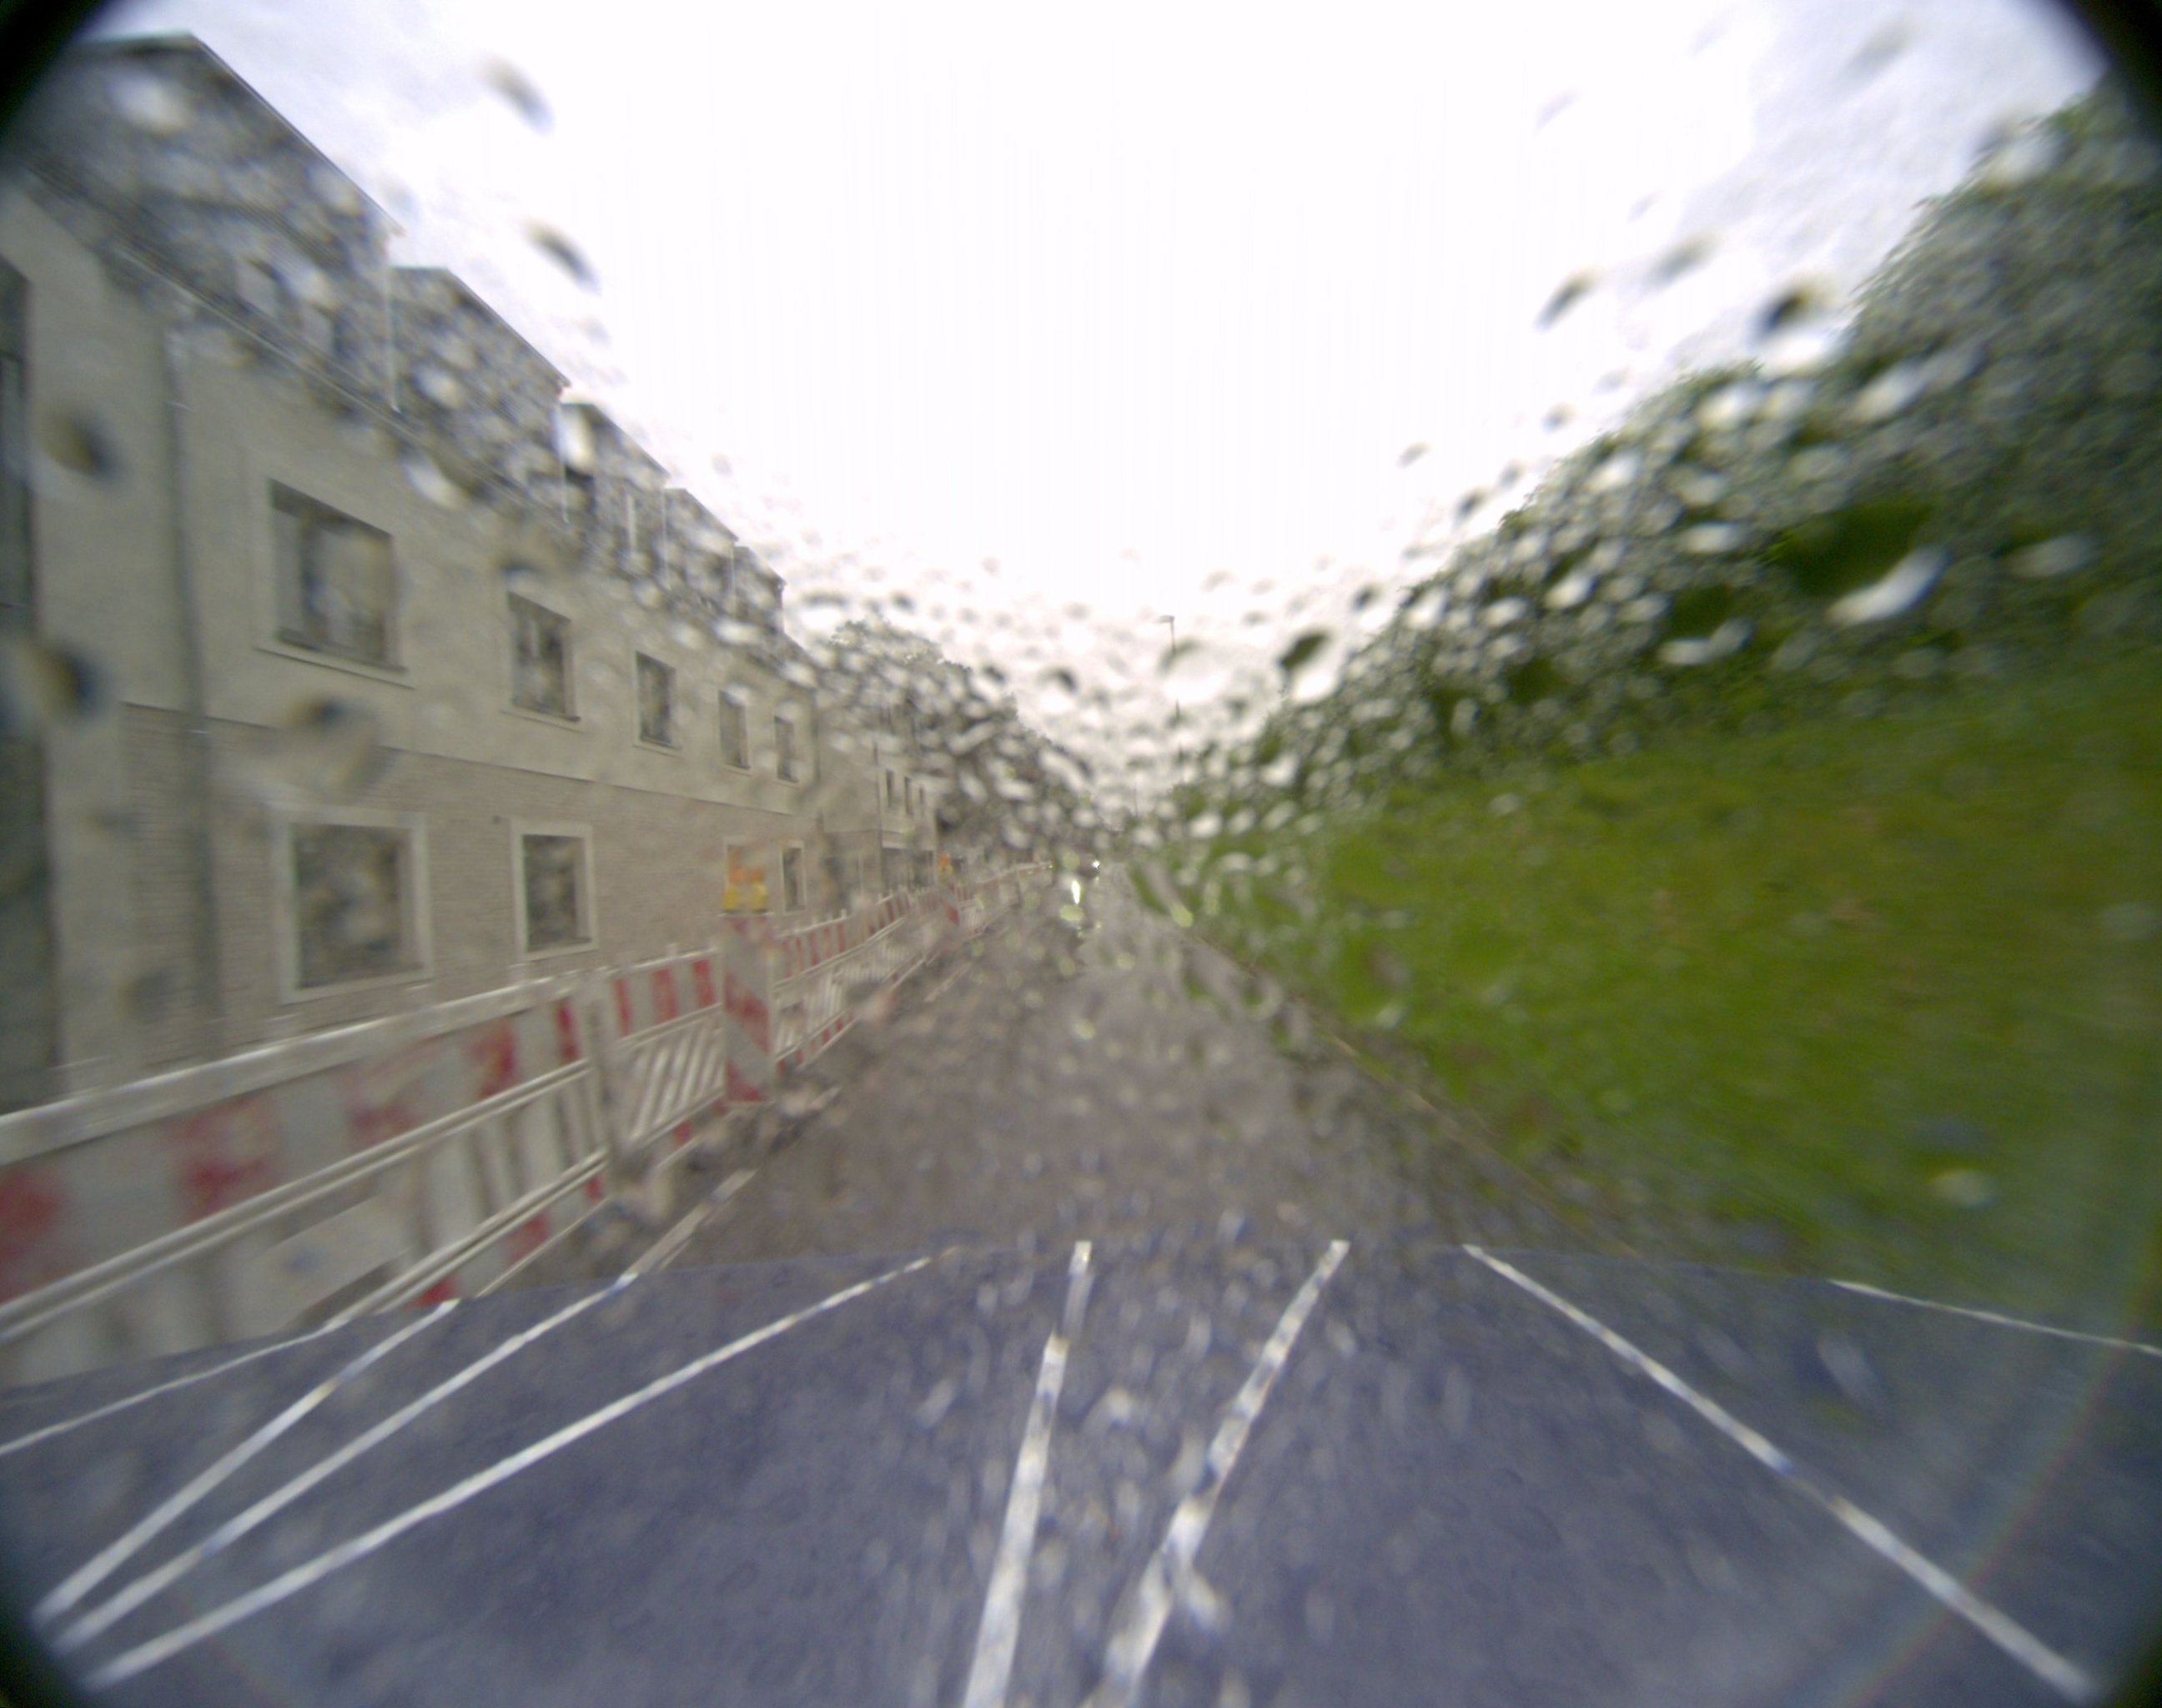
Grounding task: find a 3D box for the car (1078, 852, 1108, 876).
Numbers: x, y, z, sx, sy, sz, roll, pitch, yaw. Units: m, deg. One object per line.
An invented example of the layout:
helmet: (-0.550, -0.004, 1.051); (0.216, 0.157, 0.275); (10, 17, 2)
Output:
car: (0.824, 0.632, 51.353); (1.851, 1.444, 4.531); (-2, 1, 1)
